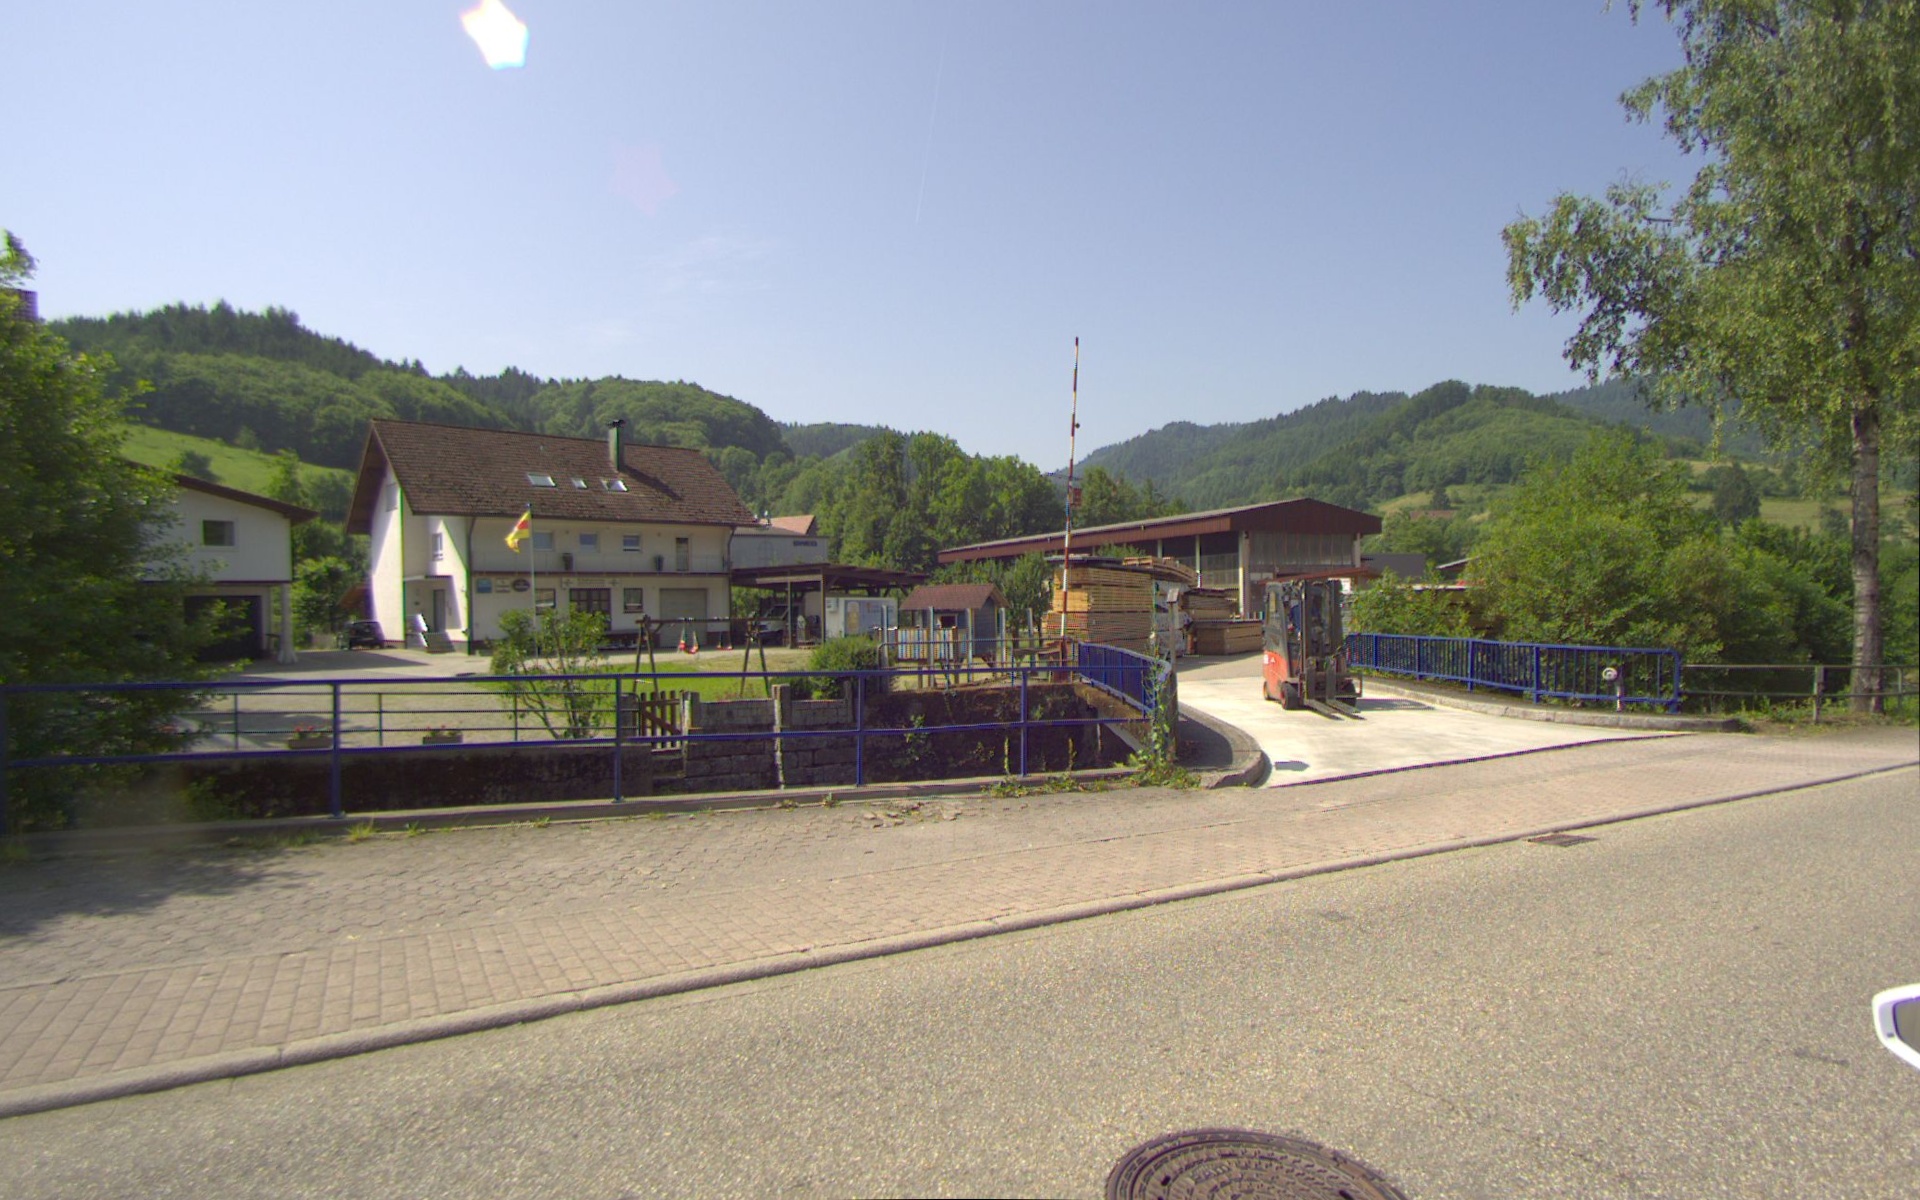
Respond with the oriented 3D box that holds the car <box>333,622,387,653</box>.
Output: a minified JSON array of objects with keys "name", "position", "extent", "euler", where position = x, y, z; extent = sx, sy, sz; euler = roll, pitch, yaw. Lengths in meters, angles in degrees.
[{"name":"car","position":[-30.648,1.900,51.261],"extent":[1.608,1.486,3.270],"euler":[1,-1,-45]}]

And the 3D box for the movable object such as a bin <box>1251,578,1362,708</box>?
[{"name":"movable object such as a bin","position":[5.913,0.726,17.327],"extent":[1.114,2.099,2.126],"euler":[0,-2,-2]}]

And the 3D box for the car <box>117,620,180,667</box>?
[{"name":"car","position":[-31.840,1.653,39.386],"extent":[1.751,1.699,3.757],"euler":[1,-1,-41]}]

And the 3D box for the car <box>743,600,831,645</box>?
[{"name":"car","position":[-9.684,1.251,56.540],"extent":[1.972,2.408,4.683],"euler":[1,-1,43]}]
